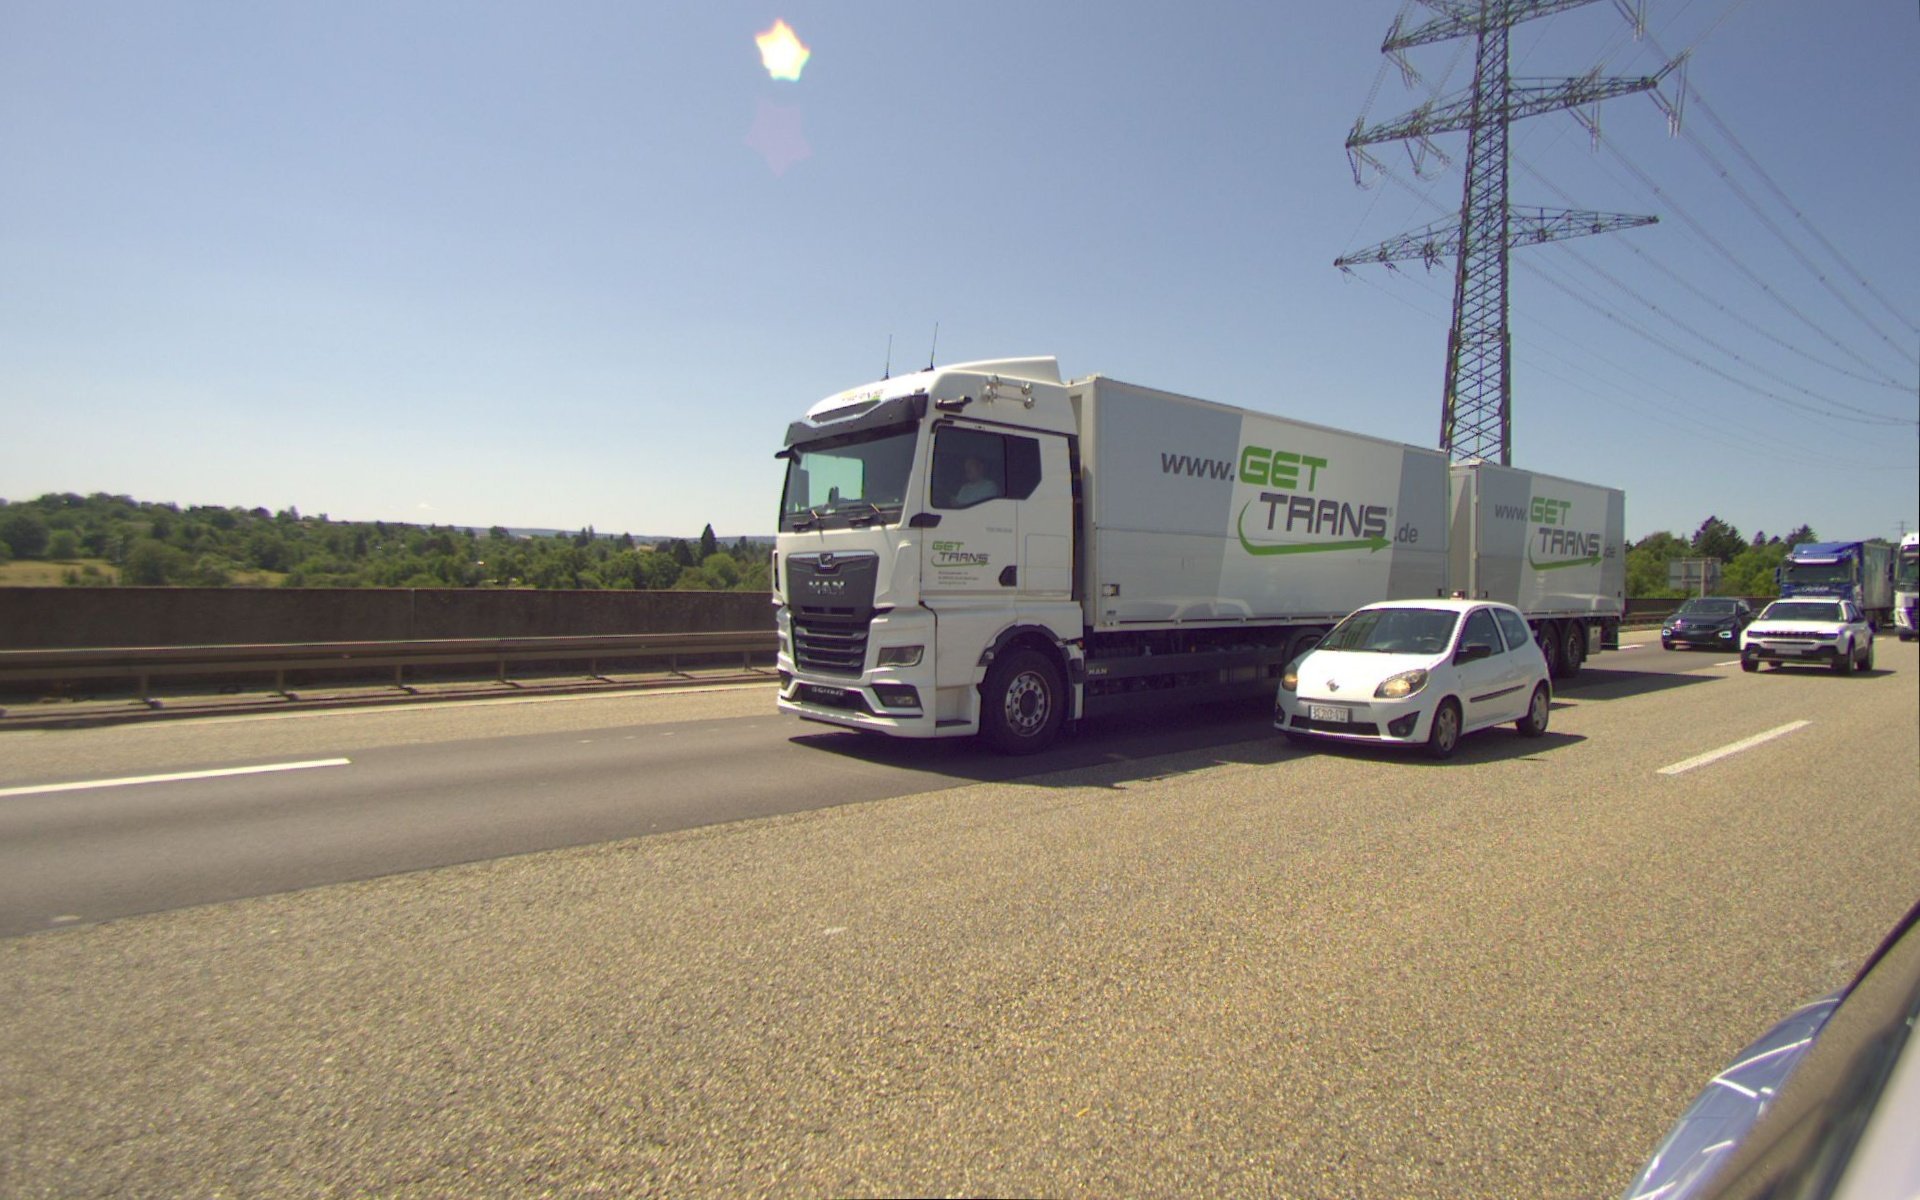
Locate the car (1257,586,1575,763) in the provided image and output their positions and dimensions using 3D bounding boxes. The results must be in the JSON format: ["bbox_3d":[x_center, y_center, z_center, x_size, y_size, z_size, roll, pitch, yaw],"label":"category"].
[{"bbox_3d":[4.880,0.621,10.611,3.760,1.529,1.658,-1,0,-42],"label":"car"}]

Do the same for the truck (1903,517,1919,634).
[{"bbox_3d":[39.604,-0.836,39.303,14.002,4.090,2.716,0,0,-40],"label":"truck"}]

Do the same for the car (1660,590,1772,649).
[{"bbox_3d":[22.063,0.506,29.497,3.930,1.598,1.819,-1,1,-41],"label":"car"}]

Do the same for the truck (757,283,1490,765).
[{"bbox_3d":[3.005,-0.642,12.968,11.096,3.980,2.694,0,0,-40],"label":"truck"}]

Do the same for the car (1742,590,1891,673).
[{"bbox_3d":[17.949,0.582,21.156,3.783,1.549,1.775,-1,0,-40],"label":"car"}]

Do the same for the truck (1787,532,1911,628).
[{"bbox_3d":[40.757,-0.898,46.236,11.078,3.929,2.838,-1,0,-41],"label":"truck"}]

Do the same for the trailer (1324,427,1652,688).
[{"bbox_3d":[10.133,-0.662,18.998,7.635,3.991,2.751,0,0,-40],"label":"trailer"}]
